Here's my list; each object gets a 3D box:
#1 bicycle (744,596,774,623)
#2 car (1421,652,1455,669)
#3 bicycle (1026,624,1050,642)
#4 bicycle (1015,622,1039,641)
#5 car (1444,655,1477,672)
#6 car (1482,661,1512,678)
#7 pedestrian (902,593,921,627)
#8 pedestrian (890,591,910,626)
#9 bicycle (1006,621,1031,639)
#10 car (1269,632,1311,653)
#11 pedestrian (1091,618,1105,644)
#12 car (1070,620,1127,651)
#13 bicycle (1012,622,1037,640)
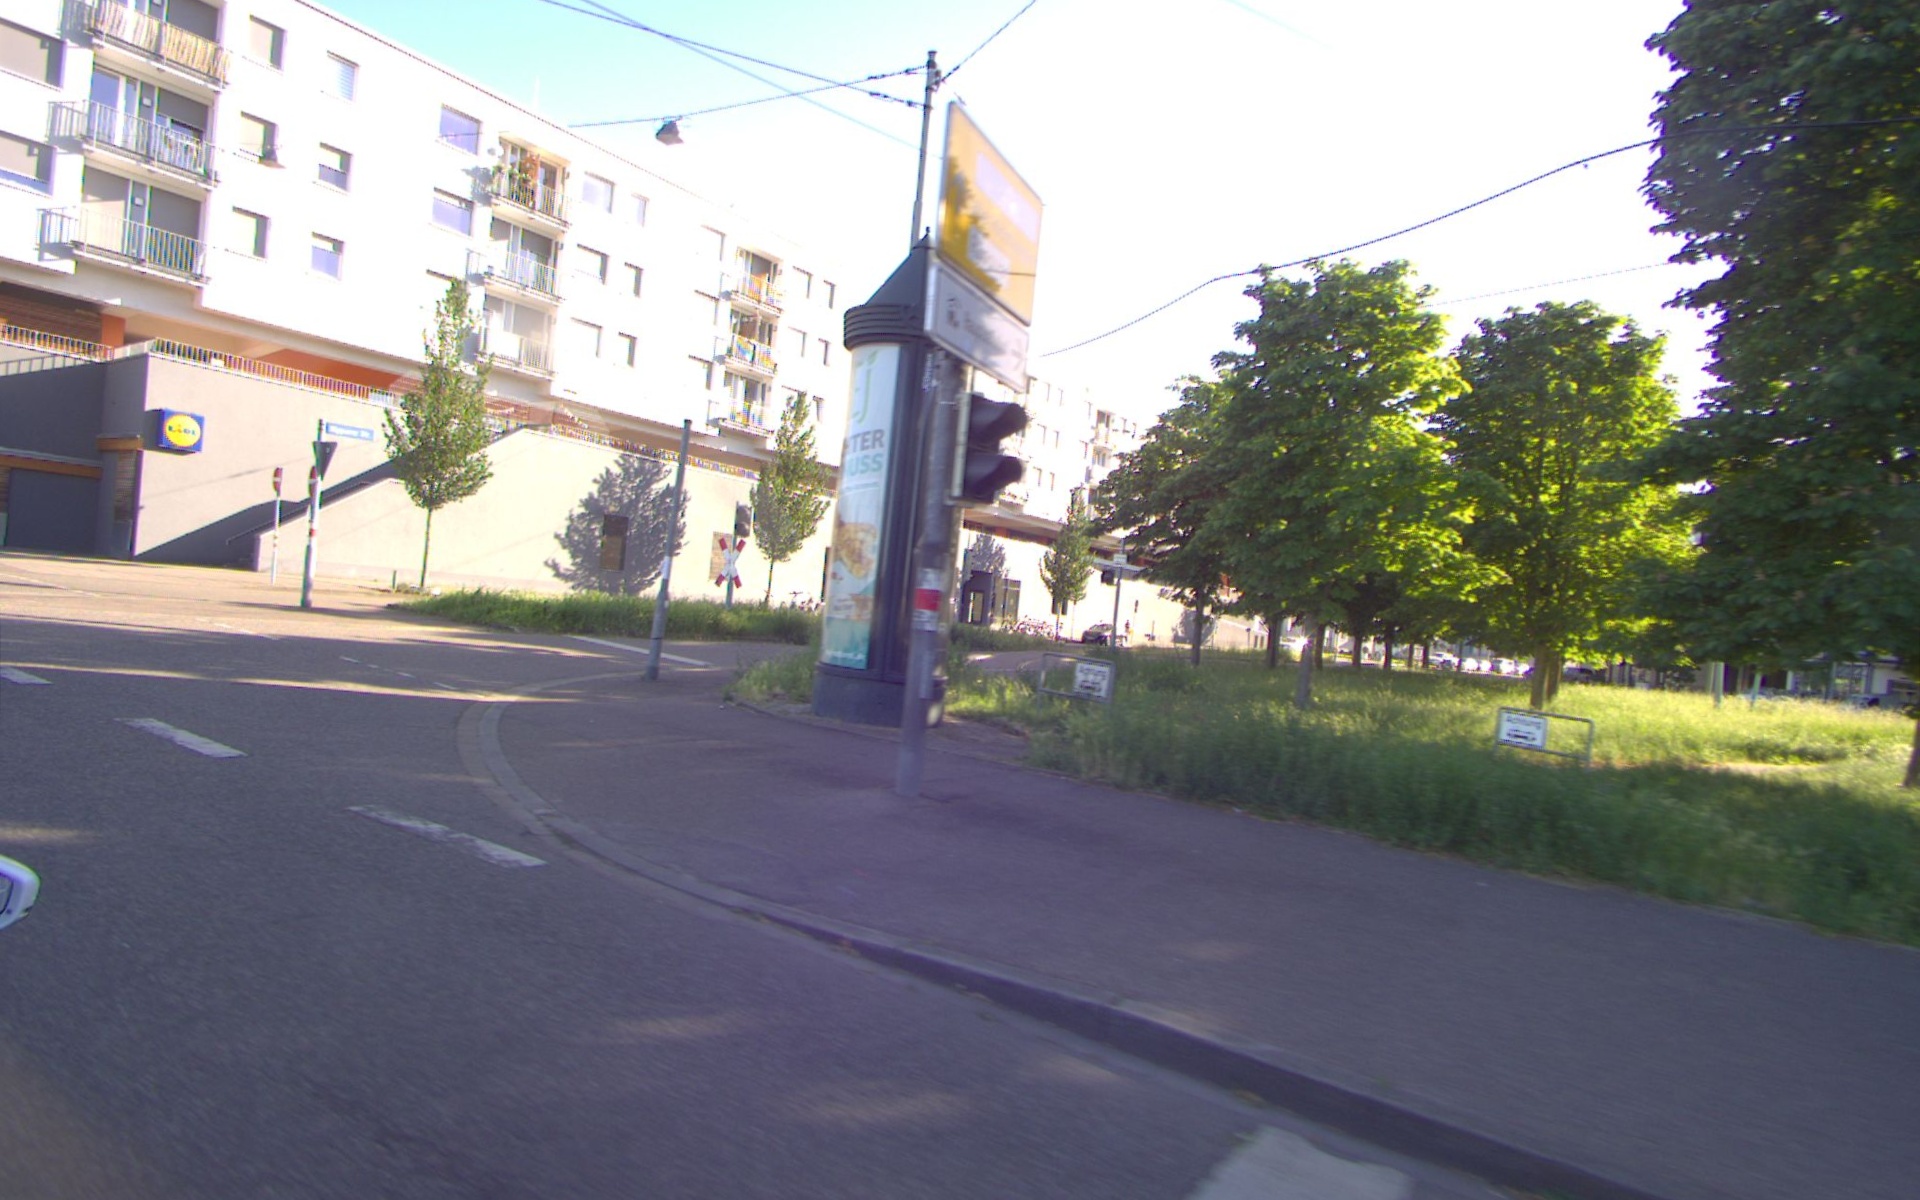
[{"bbox_3d":[-8.192,0.374,40.949,0.479,0.981,1.437,7,-2,-41],"label":"bicycle"},{"bbox_3d":[57.067,7.220,120.075,3.969,1.659,1.980,8,-3,-39],"label":"car"},{"bbox_3d":[4.829,2.038,62.569,1.434,0.981,0.480,4,-2,43],"label":"bicycle"},{"bbox_3d":[4.112,1.922,61.687,1.434,0.981,0.480,4,-2,43],"label":"bicycle"},{"bbox_3d":[61.486,7.854,123.546,3.969,1.659,1.980,8,-3,-39],"label":"car"},{"bbox_3d":[69.173,8.958,129.629,3.969,1.659,1.980,8,-3,-39],"label":"car"},{"bbox_3d":[-2.599,0.542,53.938,0.658,1.721,0.593,7,-2,-42],"label":"pedestrian"},{"bbox_3d":[-3.194,0.450,53.337,0.658,1.721,0.593,7,-2,-42],"label":"pedestrian"},{"bbox_3d":[3.523,1.805,60.466,1.434,0.981,0.480,4,-2,43],"label":"bicycle"},{"bbox_3d":[33.026,4.264,100.700,3.968,1.659,1.980,8,-3,-38],"label":"car"},{"bbox_3d":[9.671,2.151,70.595,0.652,1.721,0.599,5,-1,30],"label":"pedestrian"},{"bbox_3d":[9.142,2.346,66.029,1.969,1.659,3.990,5,-3,35],"label":"car"},{"bbox_3d":[3.876,1.858,60.807,1.434,0.981,0.480,4,-2,43],"label":"bicycle"}]
